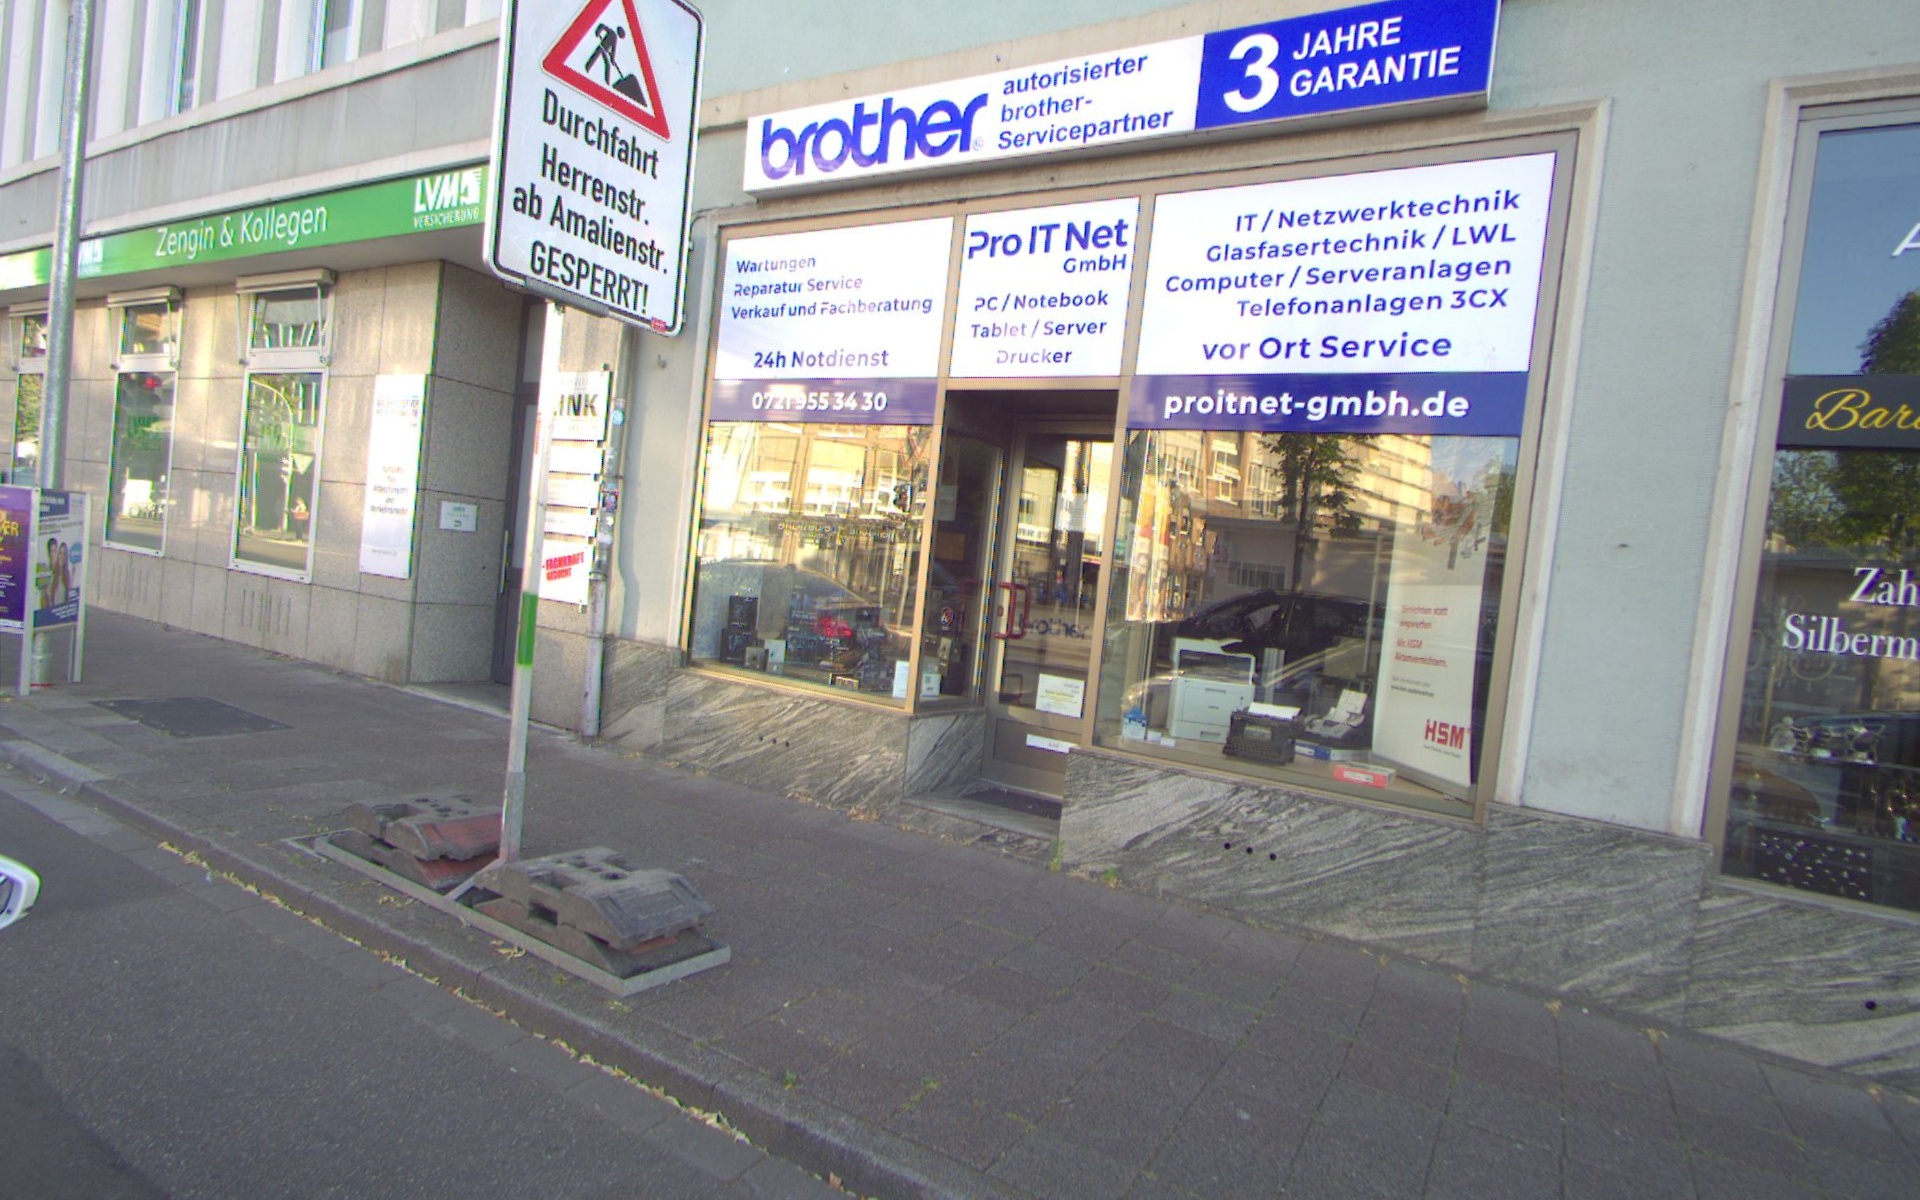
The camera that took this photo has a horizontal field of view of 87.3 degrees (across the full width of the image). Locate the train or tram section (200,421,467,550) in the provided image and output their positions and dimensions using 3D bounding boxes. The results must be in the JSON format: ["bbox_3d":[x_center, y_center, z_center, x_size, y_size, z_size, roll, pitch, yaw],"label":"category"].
[{"bbox_3d":[-25.670,-4.446,42.561,3.024,3.916,12.647,6,1,1],"label":"train or tram section"}]
